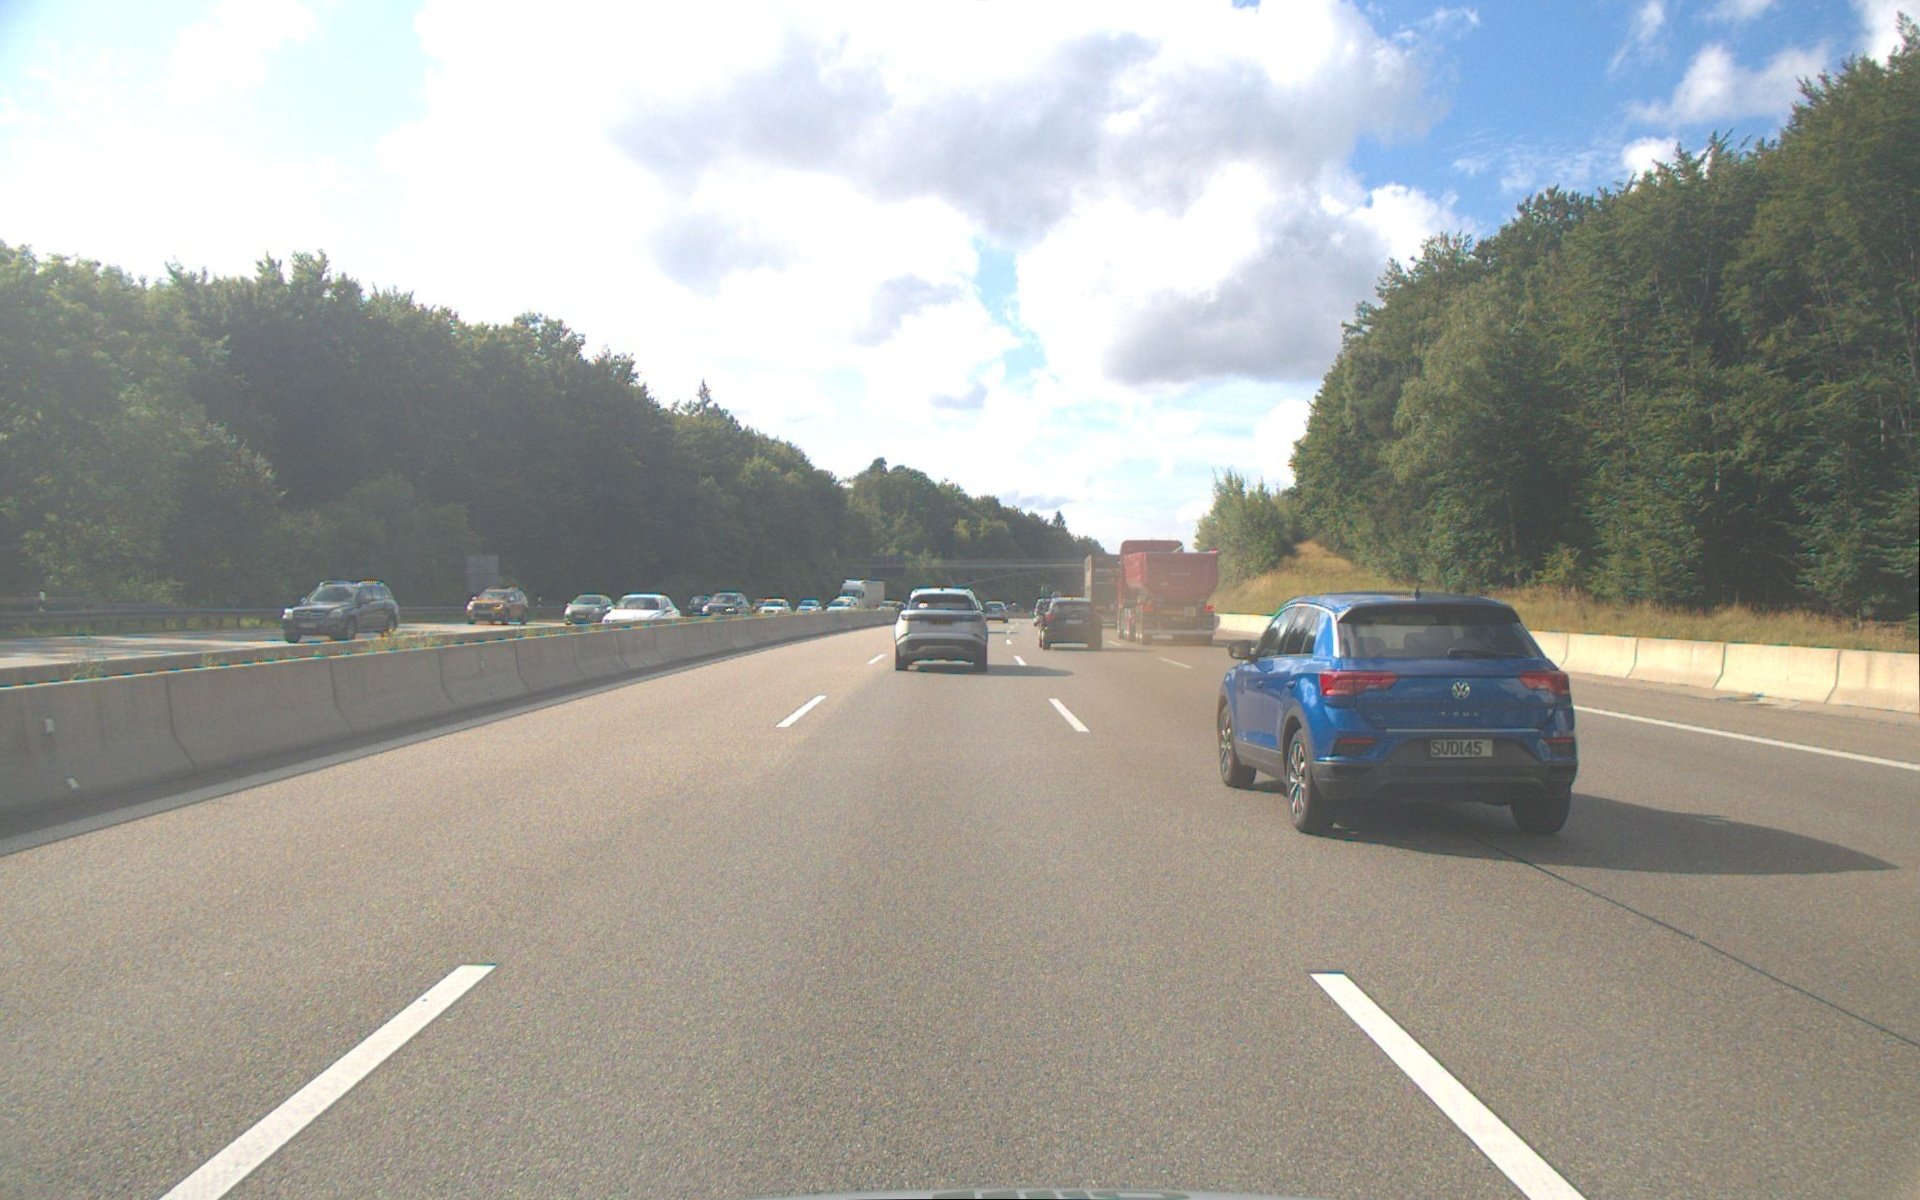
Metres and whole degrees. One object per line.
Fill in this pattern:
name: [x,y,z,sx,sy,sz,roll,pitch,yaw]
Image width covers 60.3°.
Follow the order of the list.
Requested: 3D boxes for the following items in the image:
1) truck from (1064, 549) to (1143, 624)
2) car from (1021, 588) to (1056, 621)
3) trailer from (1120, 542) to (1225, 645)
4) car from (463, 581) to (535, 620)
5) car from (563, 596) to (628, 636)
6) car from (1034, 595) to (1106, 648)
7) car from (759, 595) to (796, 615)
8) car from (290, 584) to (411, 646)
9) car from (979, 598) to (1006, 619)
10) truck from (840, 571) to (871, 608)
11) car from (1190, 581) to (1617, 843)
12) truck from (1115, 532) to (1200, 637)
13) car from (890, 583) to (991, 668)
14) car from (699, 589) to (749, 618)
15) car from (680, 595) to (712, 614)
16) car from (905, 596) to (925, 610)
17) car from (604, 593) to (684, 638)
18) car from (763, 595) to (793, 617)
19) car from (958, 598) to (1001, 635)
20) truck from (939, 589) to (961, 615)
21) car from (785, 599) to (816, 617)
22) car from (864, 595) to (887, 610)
truck: [8.109,-0.756,94.947,3.056,4.003,10.404,1,0,-3]
car: [4.623,0.250,97.839,1.855,1.889,4.100,1,0,-1]
trailer: [7.319,-0.224,58.253,2.654,3.288,9.734,1,0,1]
car: [-21.397,0.032,76.933,1.888,1.746,4.425,1,0,4]
car: [-16.644,0.694,75.690,1.888,1.746,4.424,1,0,1]
car: [3.255,0.617,49.483,1.785,1.483,3.999,1,0,-2]
car: [-11.721,0.317,106.648,1.612,1.221,4.442,1,0,4]
car: [-17.323,0.402,47.218,1.631,1.668,4.481,1,0,2]
car: [2.332,0.598,117.215,1.784,1.483,4.002,1,0,3]
truck: [-11.966,-1.156,189.924,2.650,4.139,6.601,1,0,3]
car: [2.981,0.666,12.148,1.737,1.557,4.455,1,0,-3]
truck: [7.440,-0.575,62.991,2.654,3.784,5.818,1,0,1]
car: [-0.384,0.501,35.192,1.965,1.644,5.301,1,0,0]
car: [-12.807,0.163,89.999,1.685,1.505,4.633,1,0,5]
car: [-18.383,0.305,115.266,1.462,1.233,3.271,1,0,4]
car: [-5.118,0.358,187.327,1.808,1.524,4.131,1,0,4]
car: [-9.844,0.456,51.771,1.688,1.333,4.880,1,0,-2]
car: [-15.841,0.497,144.127,1.952,1.869,4.731,1,0,2]
car: [0.890,0.729,74.395,1.784,1.573,4.001,1,0,2]
truck: [-1.519,0.298,248.328,2.718,3.876,7.138,0,0,4]
car: [-13.931,0.695,144.719,2.028,1.498,4.672,1,0,2]
car: [-8.586,0.244,168.606,1.808,1.524,4.131,1,0,4]
